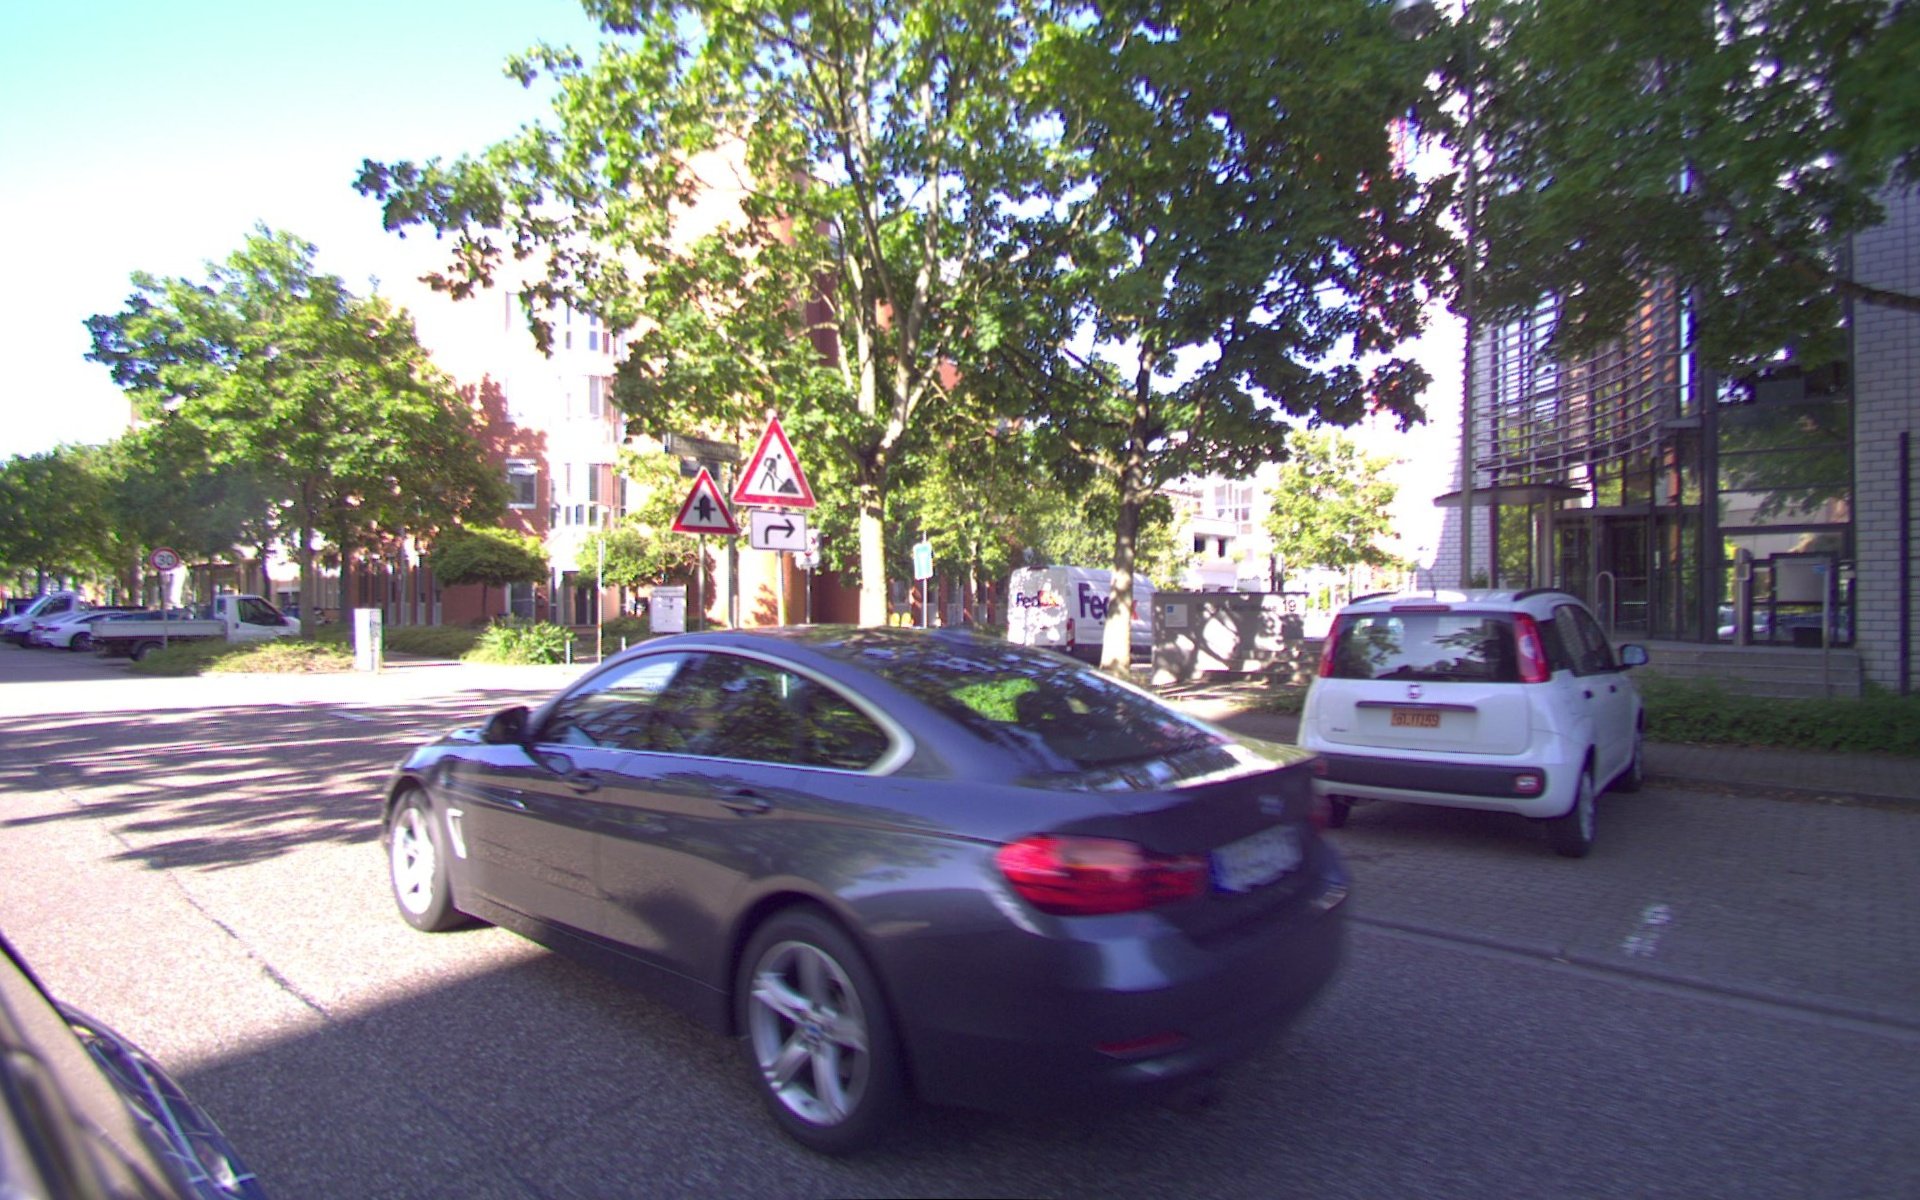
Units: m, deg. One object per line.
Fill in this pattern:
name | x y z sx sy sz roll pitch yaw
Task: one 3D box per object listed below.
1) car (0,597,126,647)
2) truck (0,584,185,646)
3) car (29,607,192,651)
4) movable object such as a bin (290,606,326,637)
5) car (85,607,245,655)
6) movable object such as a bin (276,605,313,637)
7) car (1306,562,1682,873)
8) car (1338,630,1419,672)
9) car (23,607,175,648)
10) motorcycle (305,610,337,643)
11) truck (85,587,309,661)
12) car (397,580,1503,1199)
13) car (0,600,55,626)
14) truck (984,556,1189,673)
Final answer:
car | -40.999 0.951 46.038 1.998 2.067 4.437 0 1 39
truck | -36.789 0.640 42.697 2.187 2.440 6.166 -1 -1 42
car | -32.349 1.068 38.652 1.888 1.453 4.496 -2 0 40
movable object such as a bin | -34.126 1.127 52.955 1.239 1.574 1.137 -1 -1 29
car | -26.030 0.972 33.209 3.941 1.446 1.790 0 -1 -45
movable object such as a bin | -35.257 1.107 53.620 1.436 1.632 1.137 -1 -1 29
car | 3.881 0.588 7.051 1.636 1.561 3.545 3 1 39
car | 17.803 2.138 42.985 2.009 1.690 3.944 -1 -3 42
car | -34.491 1.065 40.613 1.998 1.498 4.382 -1 0 40
motorcycle | -31.643 1.305 50.120 2.108 1.603 0.707 -1 -2 40
truck | -22.203 0.689 29.613 2.138 1.974 4.930 -1 -2 43
car | -0.429 0.704 3.865 4.106 1.426 1.794 -1 -1 42
car | -57.893 0.800 61.825 1.754 1.463 3.714 -1 1 42
truck | 3.509 0.398 26.834 2.576 2.725 6.043 -1 -1 39
